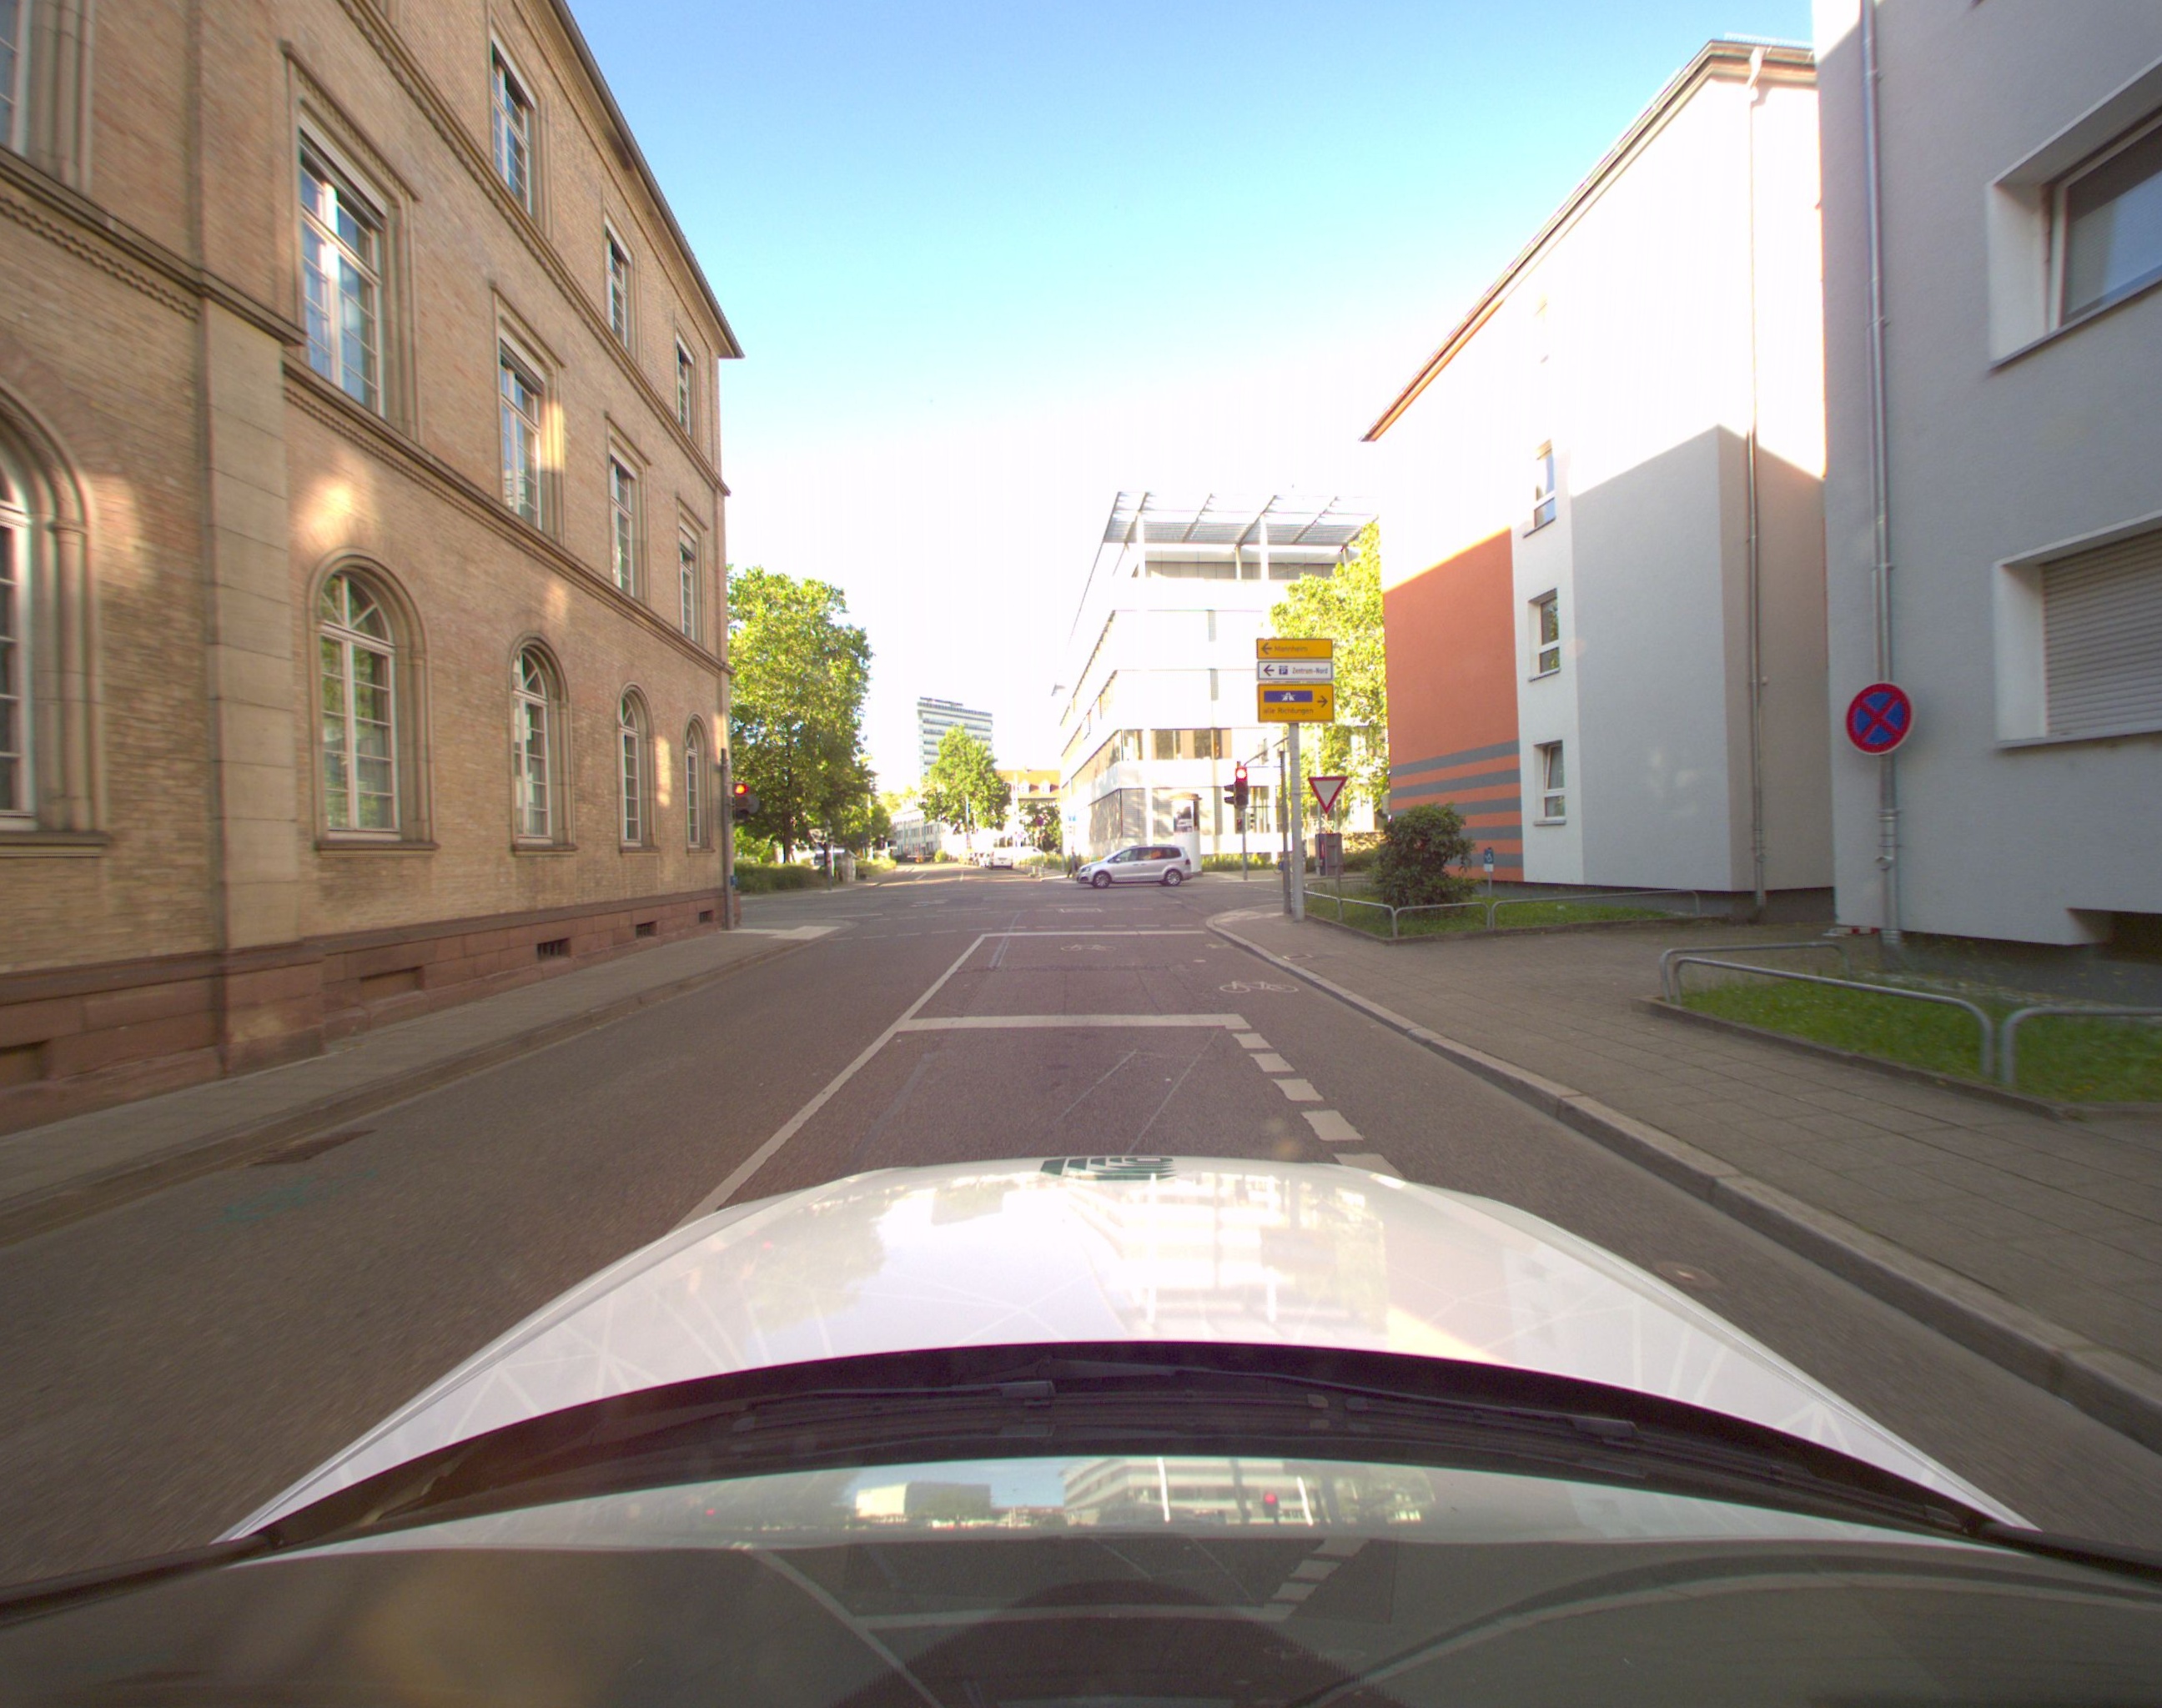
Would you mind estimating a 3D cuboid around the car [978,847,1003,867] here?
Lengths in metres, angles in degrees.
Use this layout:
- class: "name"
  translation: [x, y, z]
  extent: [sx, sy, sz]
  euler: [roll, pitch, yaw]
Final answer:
- class: "car"
  translation: [-8.995, 0.275, 80.667]
  extent: [1.948, 1.795, 4.220]
  euler: [-2, 0, -12]

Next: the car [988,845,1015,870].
- class: "car"
  translation: [-6.719, 0.260, 68.727]
  extent: [2.066, 1.963, 4.226]
  euler: [-2, 0, -8]

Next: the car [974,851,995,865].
- class: "car"
  translation: [-10.089, 0.394, 85.293]
  extent: [1.706, 1.424, 4.219]
  euler: [-2, 0, -13]

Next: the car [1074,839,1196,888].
- class: "car"
  translation: [2.183, 0.382, 33.647]
  extent: [4.752, 1.707, 1.796]
  euler: [-3, 0, -6]

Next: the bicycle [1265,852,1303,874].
- class: "bicycle"
  translation: [10.042, 0.437, 40.352]
  extent: [0.467, 1.049, 1.892]
  euler: [-2, 0, -41]

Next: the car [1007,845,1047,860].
- class: "car"
  translation: [-7.124, -0.166, 107.063]
  extent: [4.892, 1.872, 1.989]
  euler: [-1, -1, -16]

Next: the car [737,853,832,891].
- class: "car"
  translation: [-15.335, 0.901, 42.334]
  extent: [4.221, 1.777, 1.900]
  euler: [-2, 0, -8]

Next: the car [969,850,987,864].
- class: "car"
  translation: [-11.356, 0.338, 90.036]
  extent: [1.704, 1.464, 4.223]
  euler: [-2, 0, -10]

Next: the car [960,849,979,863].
- class: "car"
  translation: [-13.720, 0.227, 99.854]
  extent: [2.101, 1.657, 4.459]
  euler: [-2, 0, -10]

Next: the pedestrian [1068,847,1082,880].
- class: "pedestrian"
  translation: [-0.314, 0.489, 43.715]
  extent: [0.651, 1.736, 0.811]
  euler: [-2, 0, -5]
